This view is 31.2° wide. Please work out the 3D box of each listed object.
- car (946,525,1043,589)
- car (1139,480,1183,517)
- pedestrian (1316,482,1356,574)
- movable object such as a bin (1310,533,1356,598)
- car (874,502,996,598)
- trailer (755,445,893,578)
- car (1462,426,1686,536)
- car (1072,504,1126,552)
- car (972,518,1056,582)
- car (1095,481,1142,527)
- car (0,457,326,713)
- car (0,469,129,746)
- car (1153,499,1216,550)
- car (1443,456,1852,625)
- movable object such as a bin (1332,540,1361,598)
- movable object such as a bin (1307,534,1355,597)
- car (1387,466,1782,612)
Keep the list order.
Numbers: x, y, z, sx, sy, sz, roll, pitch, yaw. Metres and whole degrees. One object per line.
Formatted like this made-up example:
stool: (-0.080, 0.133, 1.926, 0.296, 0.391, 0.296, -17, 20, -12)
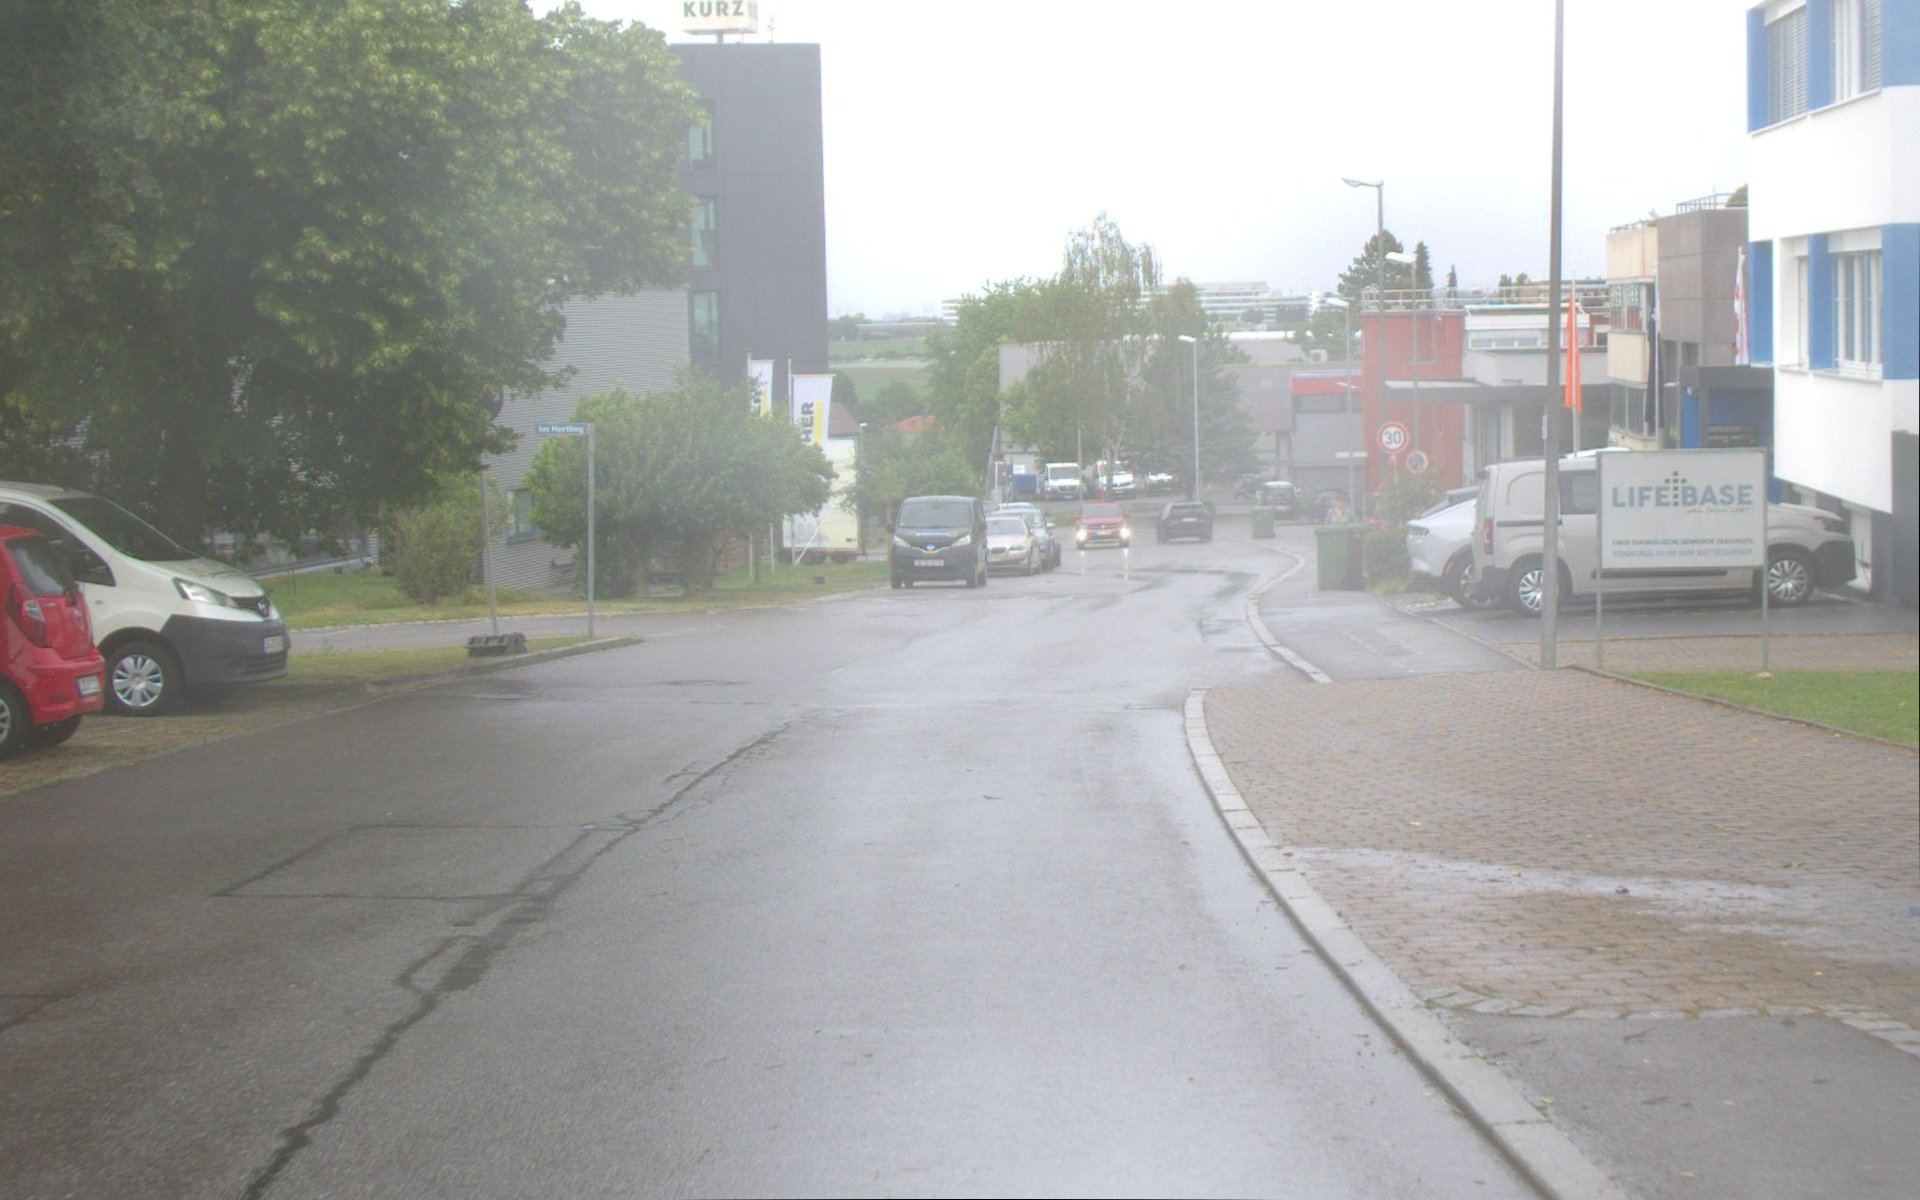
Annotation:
car: (0.879, -1.071, 84.018, 1.956, 1.456, 5.247, -2, 1, 5)
car: (11.496, -5.821, 196.884, 2.145, 2.007, 3.940, -2, 1, -2)
pedestrian: (7.355, -1.407, 67.207, 0.737, 1.761, 0.808, -1, 1, 6)
movable object such as a bin: (6.270, -0.583, 57.734, 0.743, 1.063, 0.636, -1, 1, 6)
car: (-0.469, -1.025, 69.436, 1.916, 1.825, 4.847, -1, 1, 6)
trailer: (-4.476, -2.898, 112.784, 4.183, 4.188, 2.001, -1, 1, 43)
car: (15.907, -3.078, 89.352, 5.299, 2.006, 2.221, -9, 0, 5)
car: (4.800, -2.487, 119.495, 1.747, 1.503, 3.935, -4, 0, 2)
car: (1.456, -1.306, 90.365, 1.957, 1.571, 4.840, -2, 1, 3)
car: (9.012, -5.462, 196.095, 2.192, 2.451, 4.001, -2, 1, -4)
car: (-7.430, -0.097, 27.276, 4.301, 1.899, 1.861, -1, 1, 8)
car: (-7.701, 0.089, 22.232, 4.195, 1.716, 1.755, -2, 1, -1)
car: (7.912, -2.664, 121.521, 1.956, 1.670, 4.472, -2, 0, 1)
car: (7.904, -0.696, 39.861, 4.341, 1.767, 2.089, -2, 1, 3)
movable object such as a bin: (6.584, -0.535, 58.577, 0.472, 0.964, 0.514, -1, 1, 6)
movable object such as a bin: (6.157, -0.574, 57.007, 0.772, 1.026, 0.808, -1, 1, 6)
car: (7.735, -0.764, 42.973, 4.597, 1.533, 2.079, -3, 1, 5)
